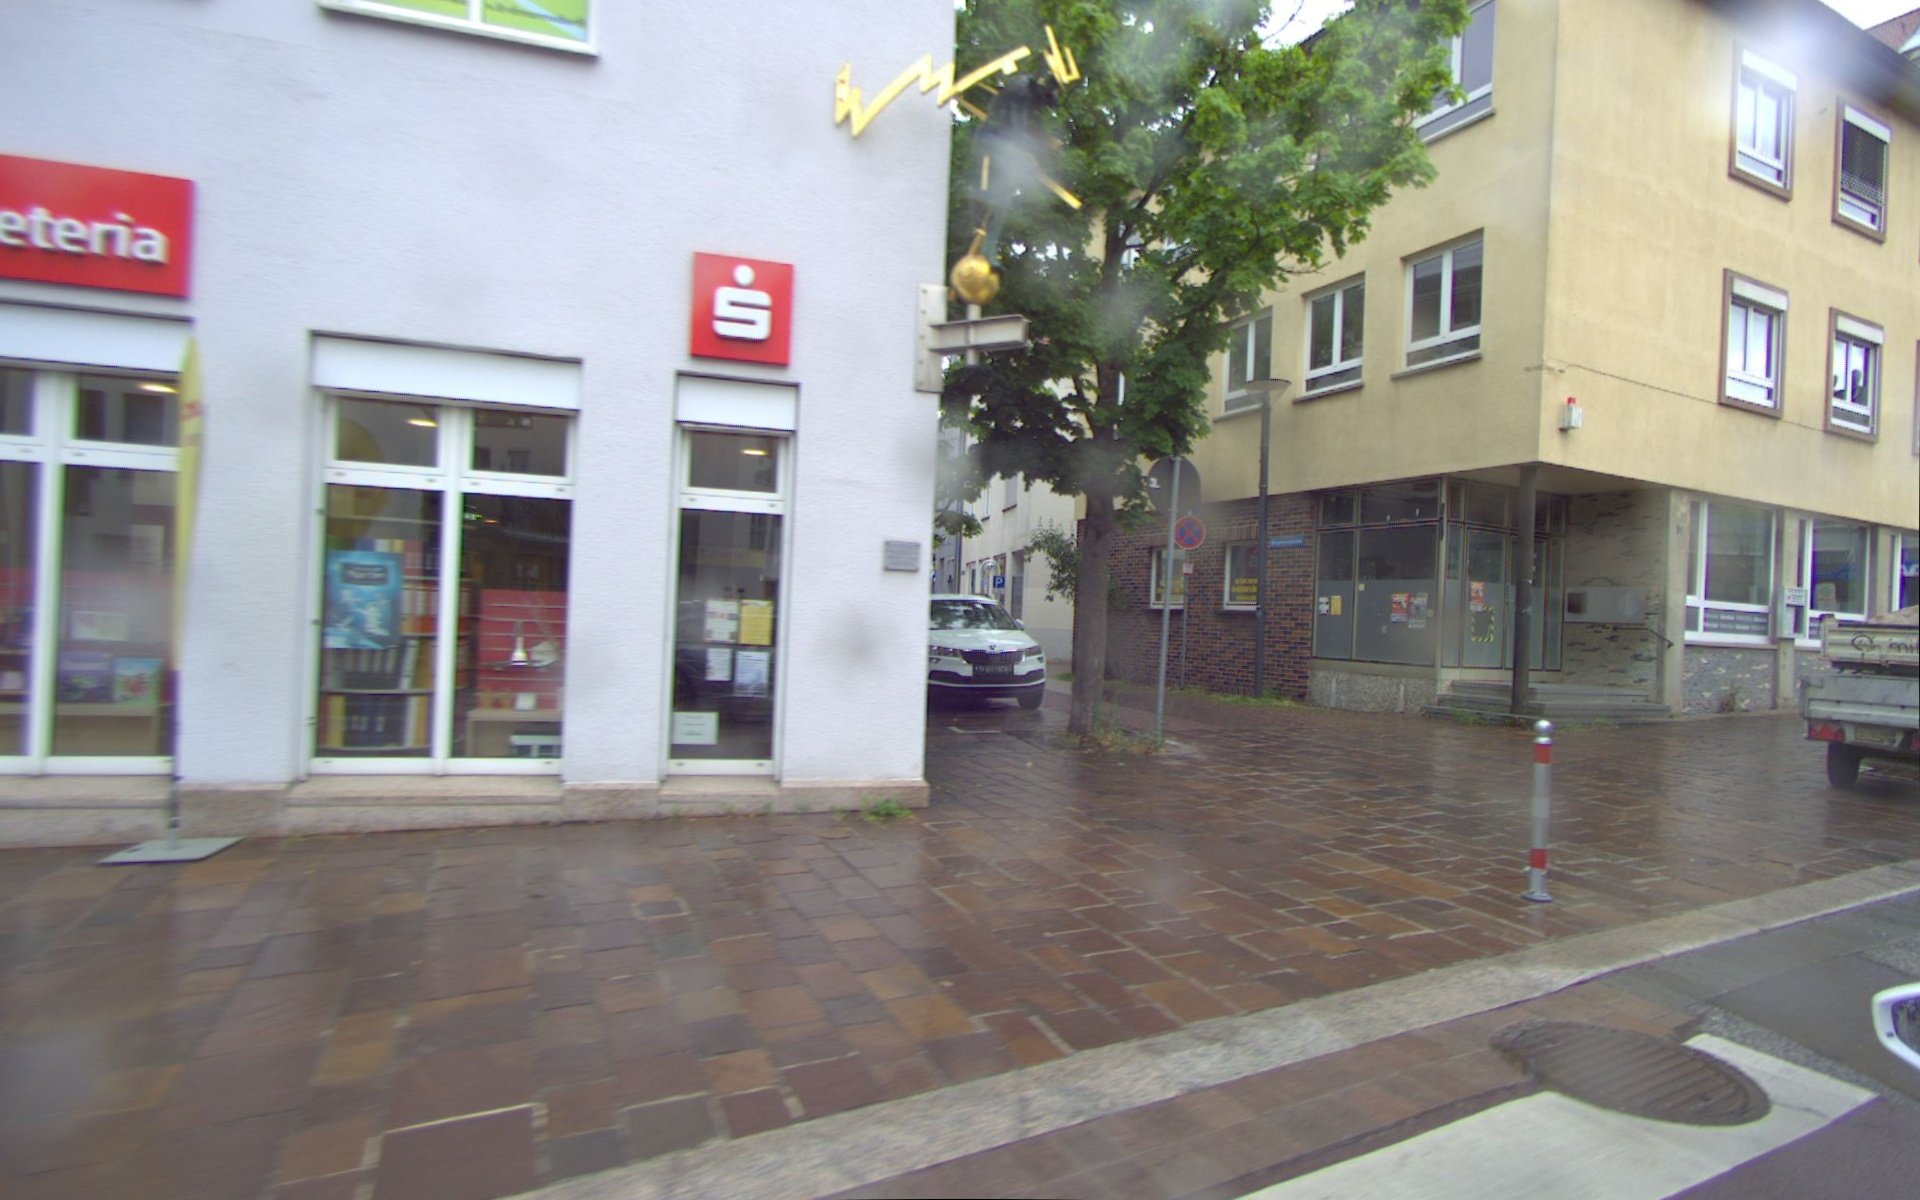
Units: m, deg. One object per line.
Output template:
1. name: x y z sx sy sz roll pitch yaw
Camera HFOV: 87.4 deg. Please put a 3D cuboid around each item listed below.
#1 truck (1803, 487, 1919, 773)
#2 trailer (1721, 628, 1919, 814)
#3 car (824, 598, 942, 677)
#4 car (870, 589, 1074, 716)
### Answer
1. truck: 12.395 0.327 11.487 6.528 2.832 2.459 1 0 -33
2. trailer: 8.365 0.956 8.844 3.126 1.364 1.718 1 0 -33
3. car: -1.830 0.811 22.579 1.899 1.587 3.988 2 -1 -15
4. car: 0.017 0.708 14.732 1.933 1.585 3.987 1 -1 -16
